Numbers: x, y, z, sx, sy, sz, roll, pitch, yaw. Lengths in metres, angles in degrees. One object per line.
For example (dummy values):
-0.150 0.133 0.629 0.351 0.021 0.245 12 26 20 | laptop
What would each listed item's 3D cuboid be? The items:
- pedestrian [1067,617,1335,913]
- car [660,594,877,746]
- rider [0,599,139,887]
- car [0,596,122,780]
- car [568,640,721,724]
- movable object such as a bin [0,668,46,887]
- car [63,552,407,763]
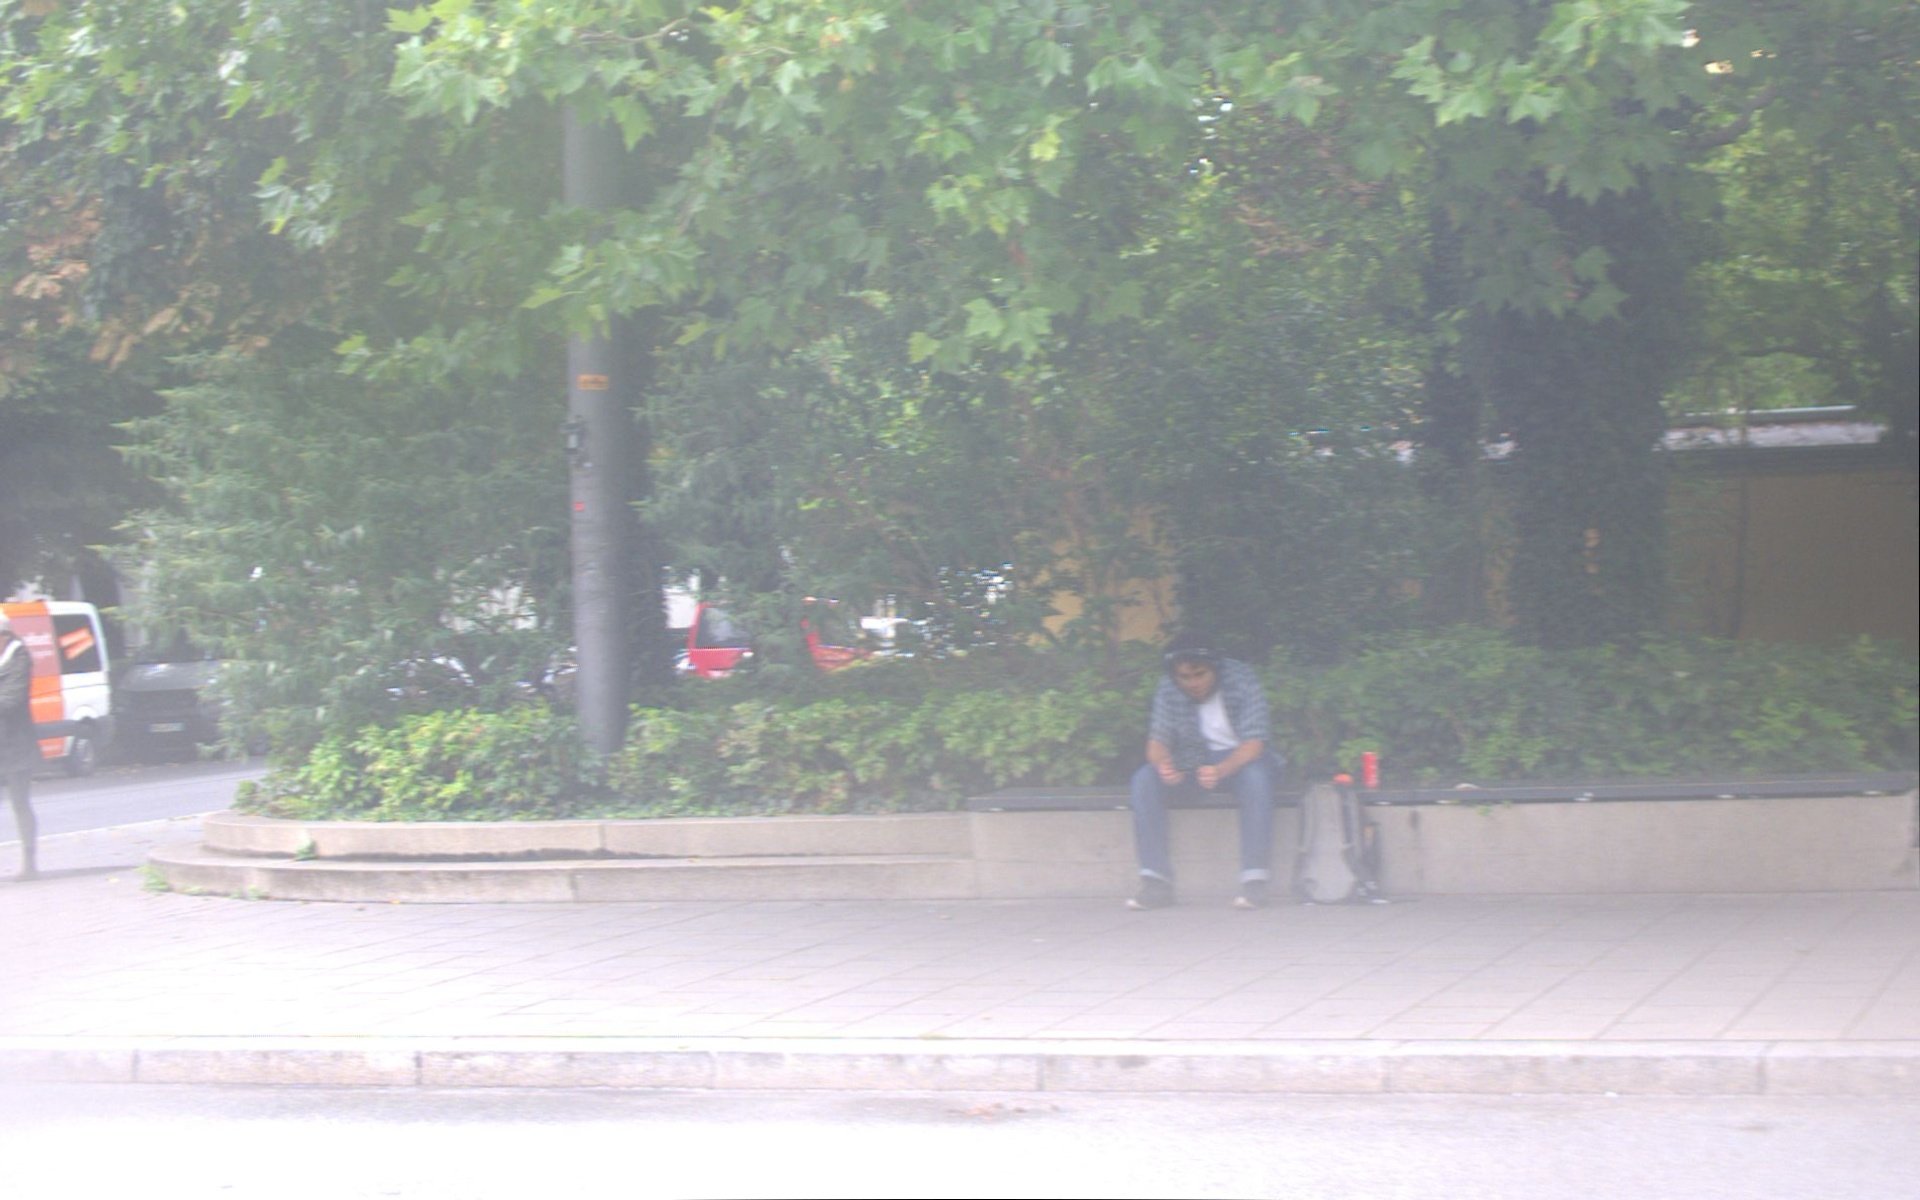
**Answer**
1.029 0.686 14.547 0.813 1.185 0.918 -2 0 25 | pedestrian
-2.559 0.911 47.066 2.042 1.916 4.444 -2 0 8 | car
-5.835 0.876 20.846 1.083 1.662 1.138 -5 -1 27 | rider
-12.662 1.111 42.753 2.112 2.243 5.192 -2 0 14 | car
-6.467 1.670 70.929 1.896 1.566 4.072 -2 0 13 | car
-6.180 1.084 20.123 1.079 1.263 1.085 -5 -1 27 | movable object such as a bin
-10.774 0.817 51.762 2.336 2.912 6.574 -2 0 14 | car
